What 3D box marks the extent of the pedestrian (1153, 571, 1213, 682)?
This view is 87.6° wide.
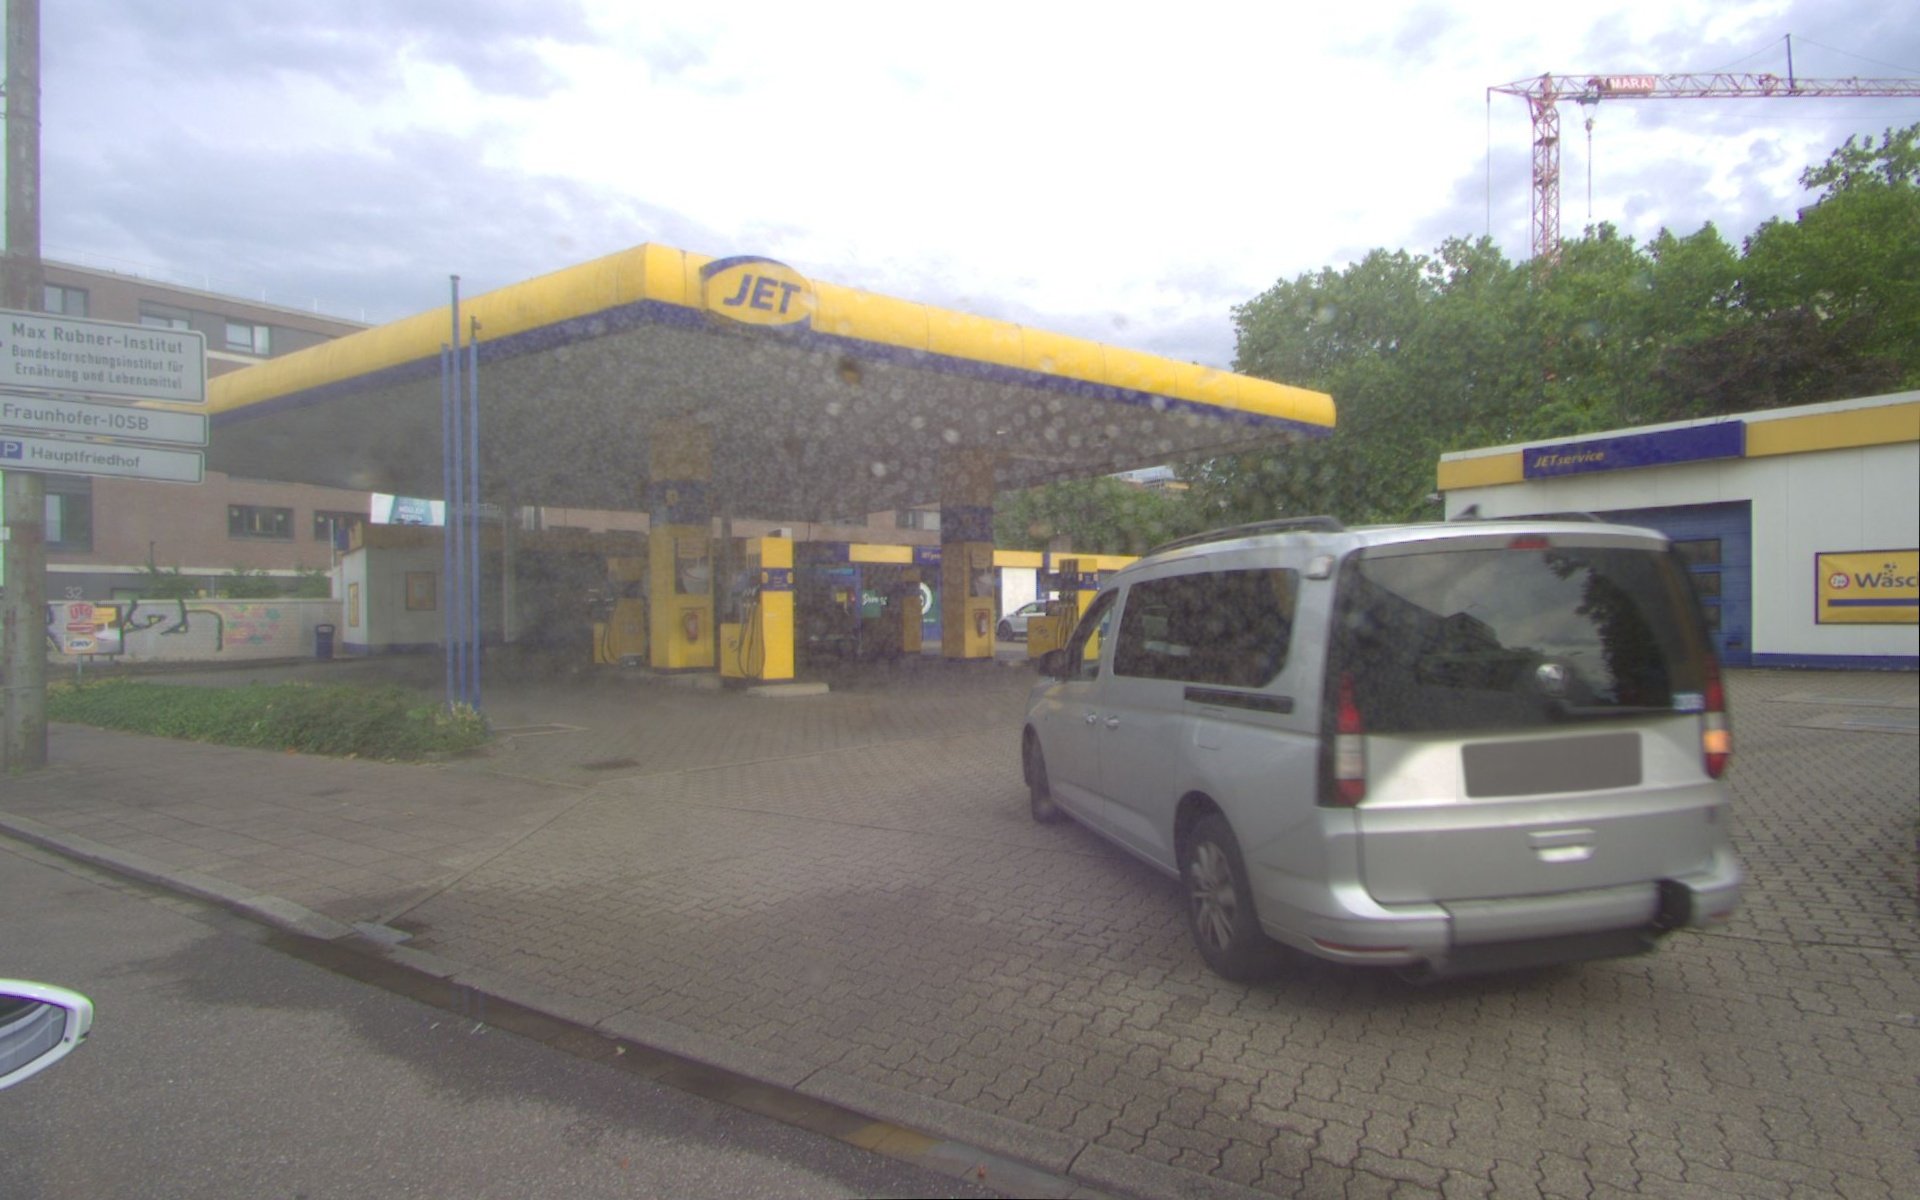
[{"bbox_3d":[3.795,0.430,17.104,0.592,1.844,0.968,0,2,-14],"label":"pedestrian"}]

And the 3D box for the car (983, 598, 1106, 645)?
[{"bbox_3d":[3.125,0.770,37.914,1.919,1.617,4.722,0,1,-38],"label":"car"}]

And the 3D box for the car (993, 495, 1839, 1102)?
[{"bbox_3d":[1.639,0.562,5.482,1.950,1.868,4.522,-1,1,-11],"label":"car"}]

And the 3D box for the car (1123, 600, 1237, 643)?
[{"bbox_3d":[9.000,0.866,41.310,1.936,1.607,4.390,1,0,-37],"label":"car"}]

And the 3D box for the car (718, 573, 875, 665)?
[{"bbox_3d":[-4.028,0.466,24.184,1.804,2.014,4.219,-2,0,-40],"label":"car"}]

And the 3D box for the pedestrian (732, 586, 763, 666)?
[{"bbox_3d":[-4.934,0.604,23.199,0.616,1.810,0.706,0,-1,-20],"label":"pedestrian"}]
